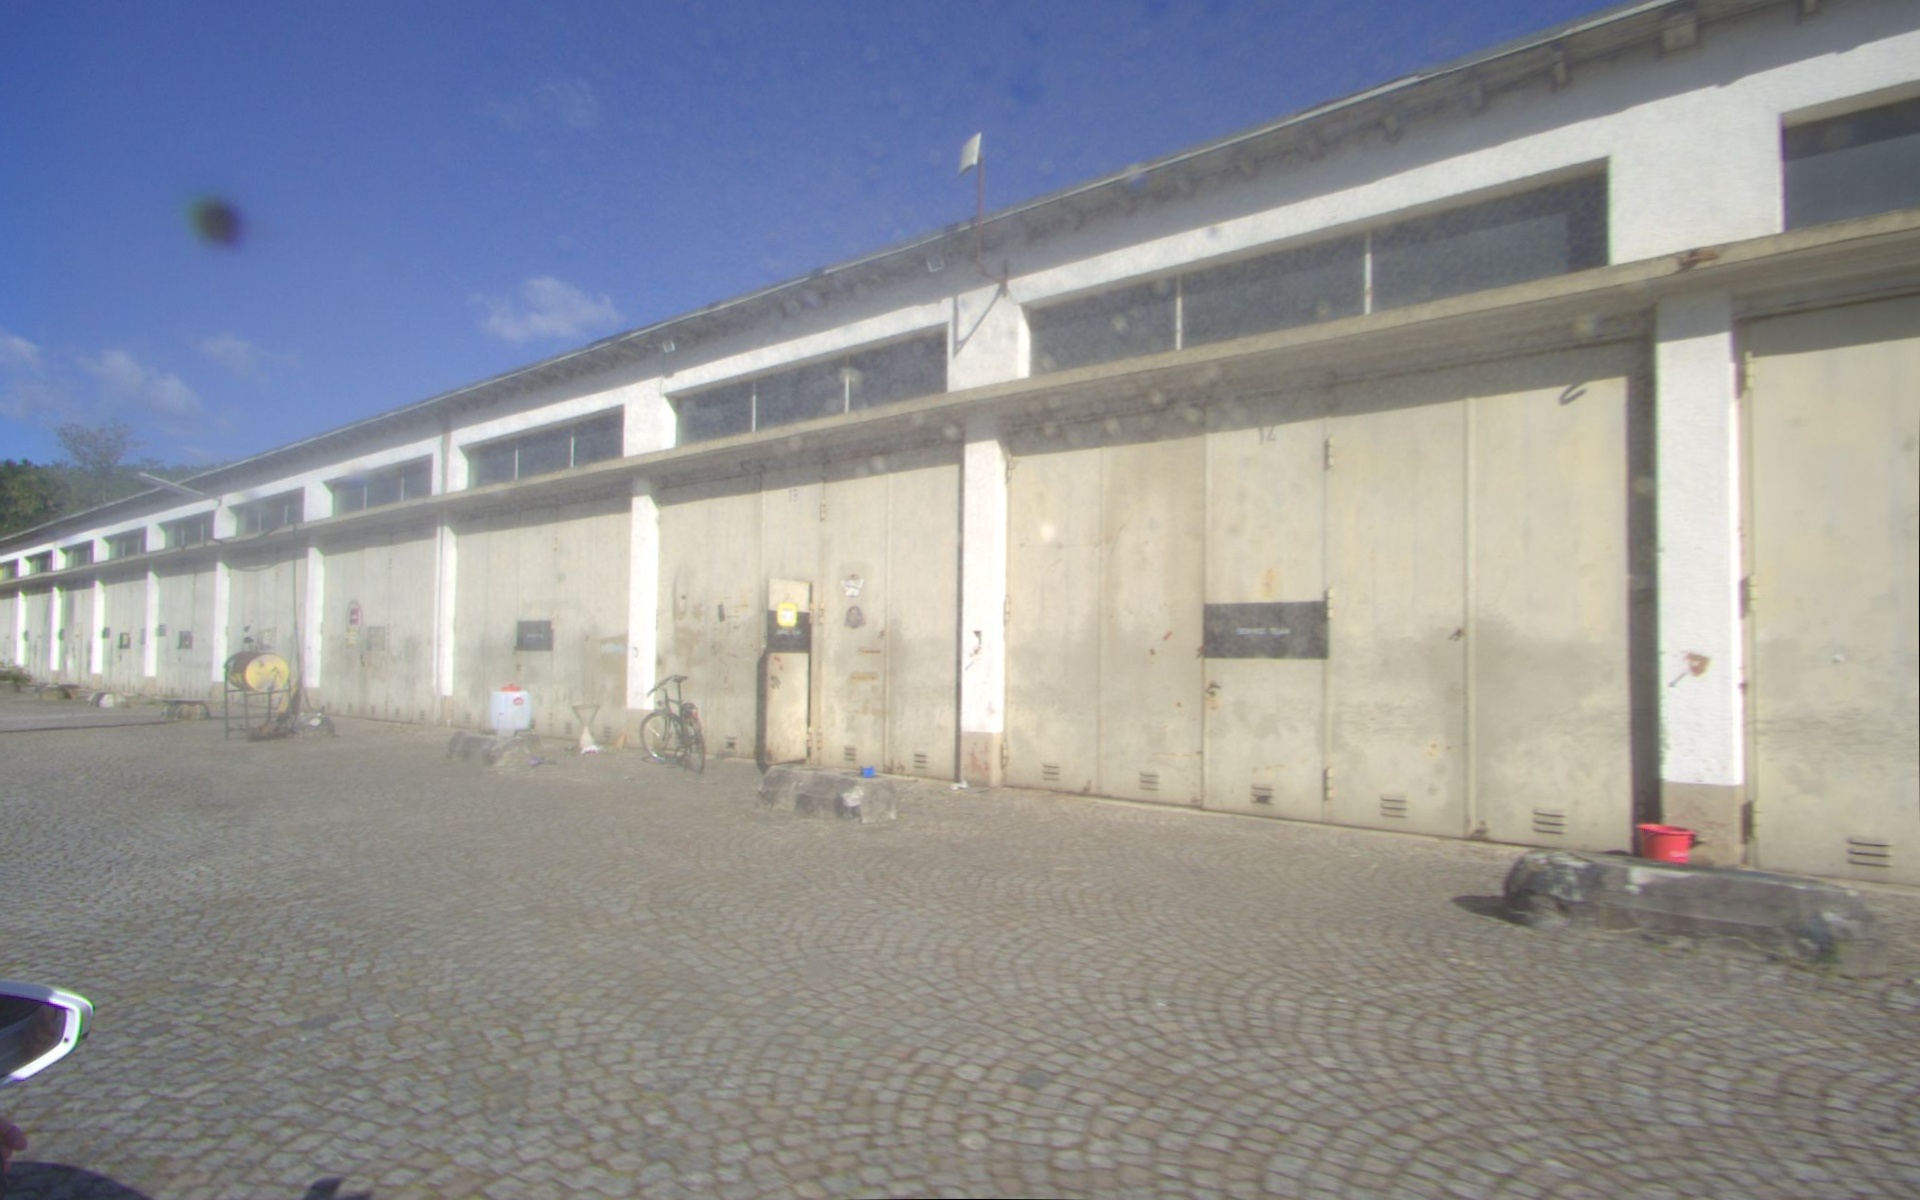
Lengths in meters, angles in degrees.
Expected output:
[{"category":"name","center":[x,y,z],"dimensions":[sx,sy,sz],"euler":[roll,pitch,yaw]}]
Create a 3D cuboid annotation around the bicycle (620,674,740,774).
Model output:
[{"category":"bicycle","center":[-3.362,1.433,11.928],"dimensions":[0.660,1.080,1.809],"euler":[4,-5,-40]}]
